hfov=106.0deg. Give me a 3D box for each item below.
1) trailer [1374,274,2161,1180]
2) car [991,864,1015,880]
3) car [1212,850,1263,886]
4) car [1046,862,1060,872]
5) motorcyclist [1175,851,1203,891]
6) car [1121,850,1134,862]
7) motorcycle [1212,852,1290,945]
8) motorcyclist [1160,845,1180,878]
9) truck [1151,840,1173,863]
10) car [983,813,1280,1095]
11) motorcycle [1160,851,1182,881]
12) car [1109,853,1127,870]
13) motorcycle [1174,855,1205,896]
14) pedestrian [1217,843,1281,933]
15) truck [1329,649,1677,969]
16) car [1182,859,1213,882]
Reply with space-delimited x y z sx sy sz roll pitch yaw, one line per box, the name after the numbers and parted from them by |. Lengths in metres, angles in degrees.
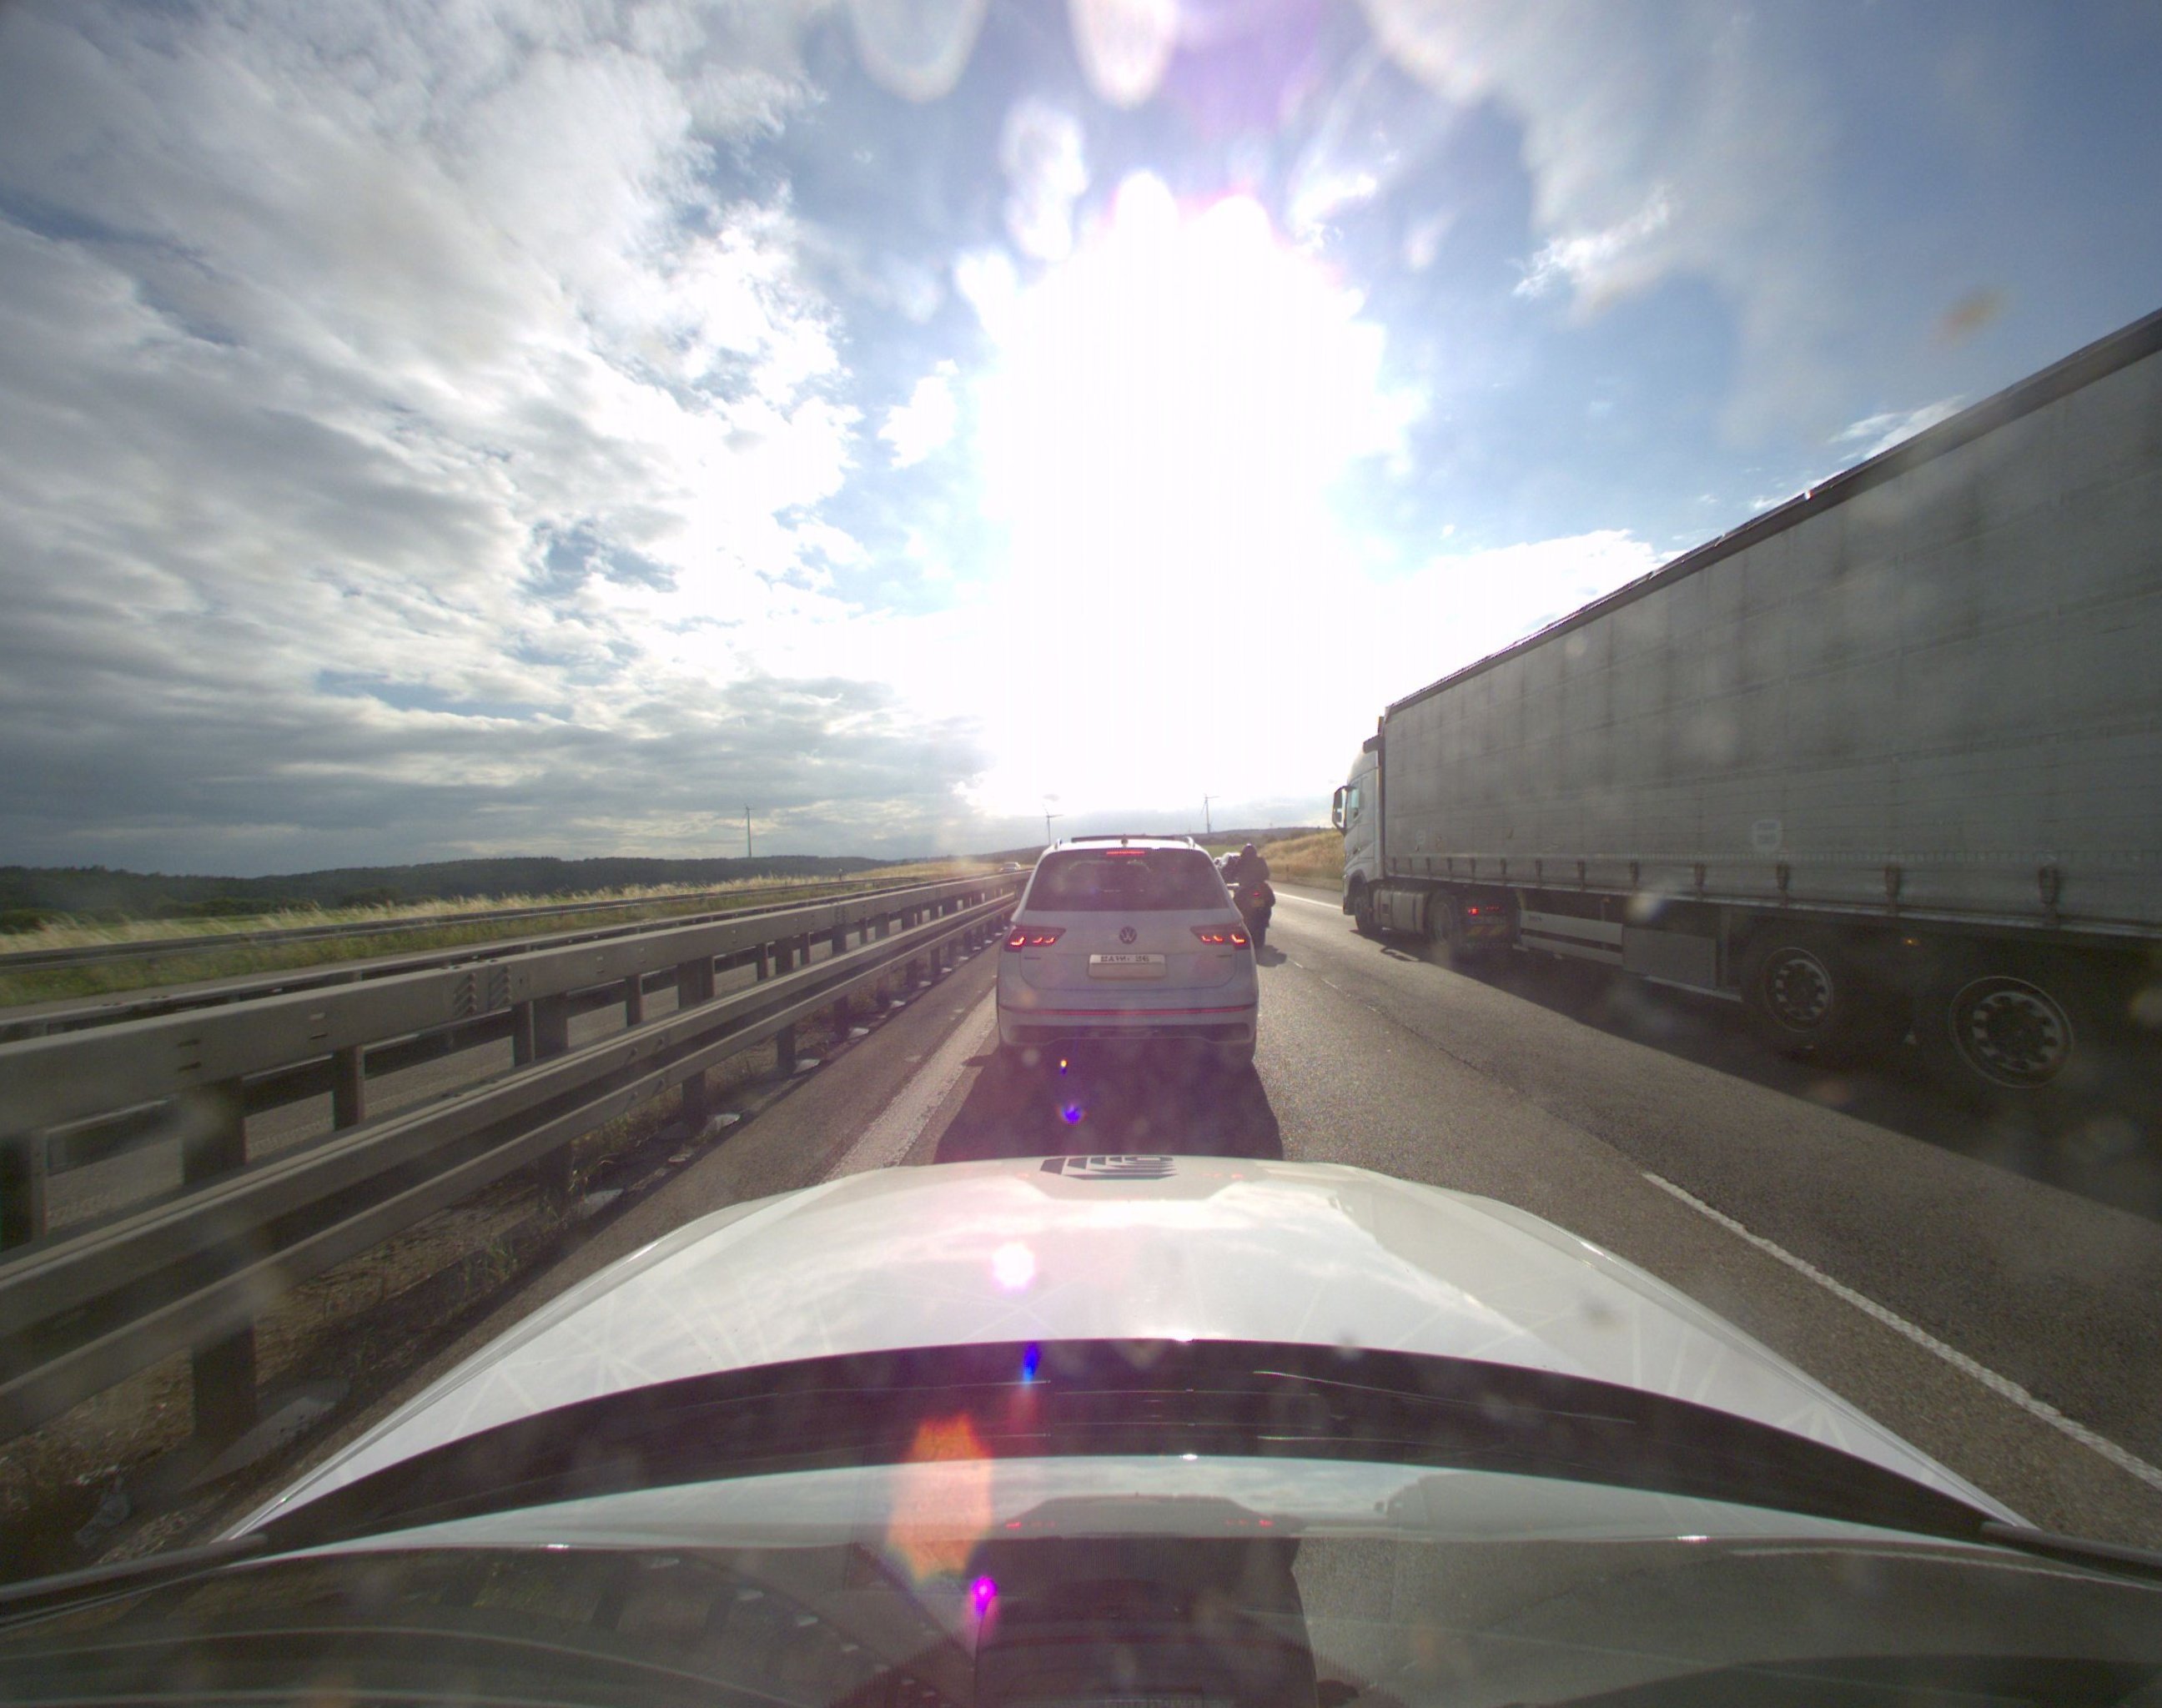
6.200 -0.570 6.976 2.607 4.040 13.701 -1 0 1 | trailer
-7.434 1.696 77.931 1.726 1.485 4.002 -1 -1 2 | car
7.454 0.663 39.124 1.814 1.601 4.237 0 -1 2 | car
-4.074 1.898 119.816 1.726 1.485 4.002 -1 -1 2 | car
4.006 0.620 30.273 0.892 1.456 0.892 -1 -1 1 | motorcyclist
6.257 0.240 110.244 1.697 1.546 4.001 -1 -1 2 | car
2.867 0.715 13.971 0.892 1.455 2.270 -1 -1 1 | motorcycle
4.518 0.388 41.268 0.892 1.617 1.022 -1 -1 1 | motorcyclist
13.294 -0.368 134.591 3.170 3.594 11.142 -1 0 4 | truck
0.370 0.628 6.945 1.763 1.675 4.001 -1 -1 2 | car
4.527 0.600 41.283 0.892 1.455 2.270 -1 -1 1 | motorcycle
3.629 0.743 80.140 1.697 1.650 4.001 -1 -1 2 | car
4.021 0.784 30.300 0.892 1.455 1.983 -1 -1 1 | motorcycle
2.850 0.568 13.914 0.892 1.456 0.984 -1 -1 1 | pedestrian
6.315 -0.573 13.458 2.592 4.040 6.120 -1 0 1 | truck
8.315 1.135 58.409 1.697 1.546 4.001 -1 -1 2 | car
